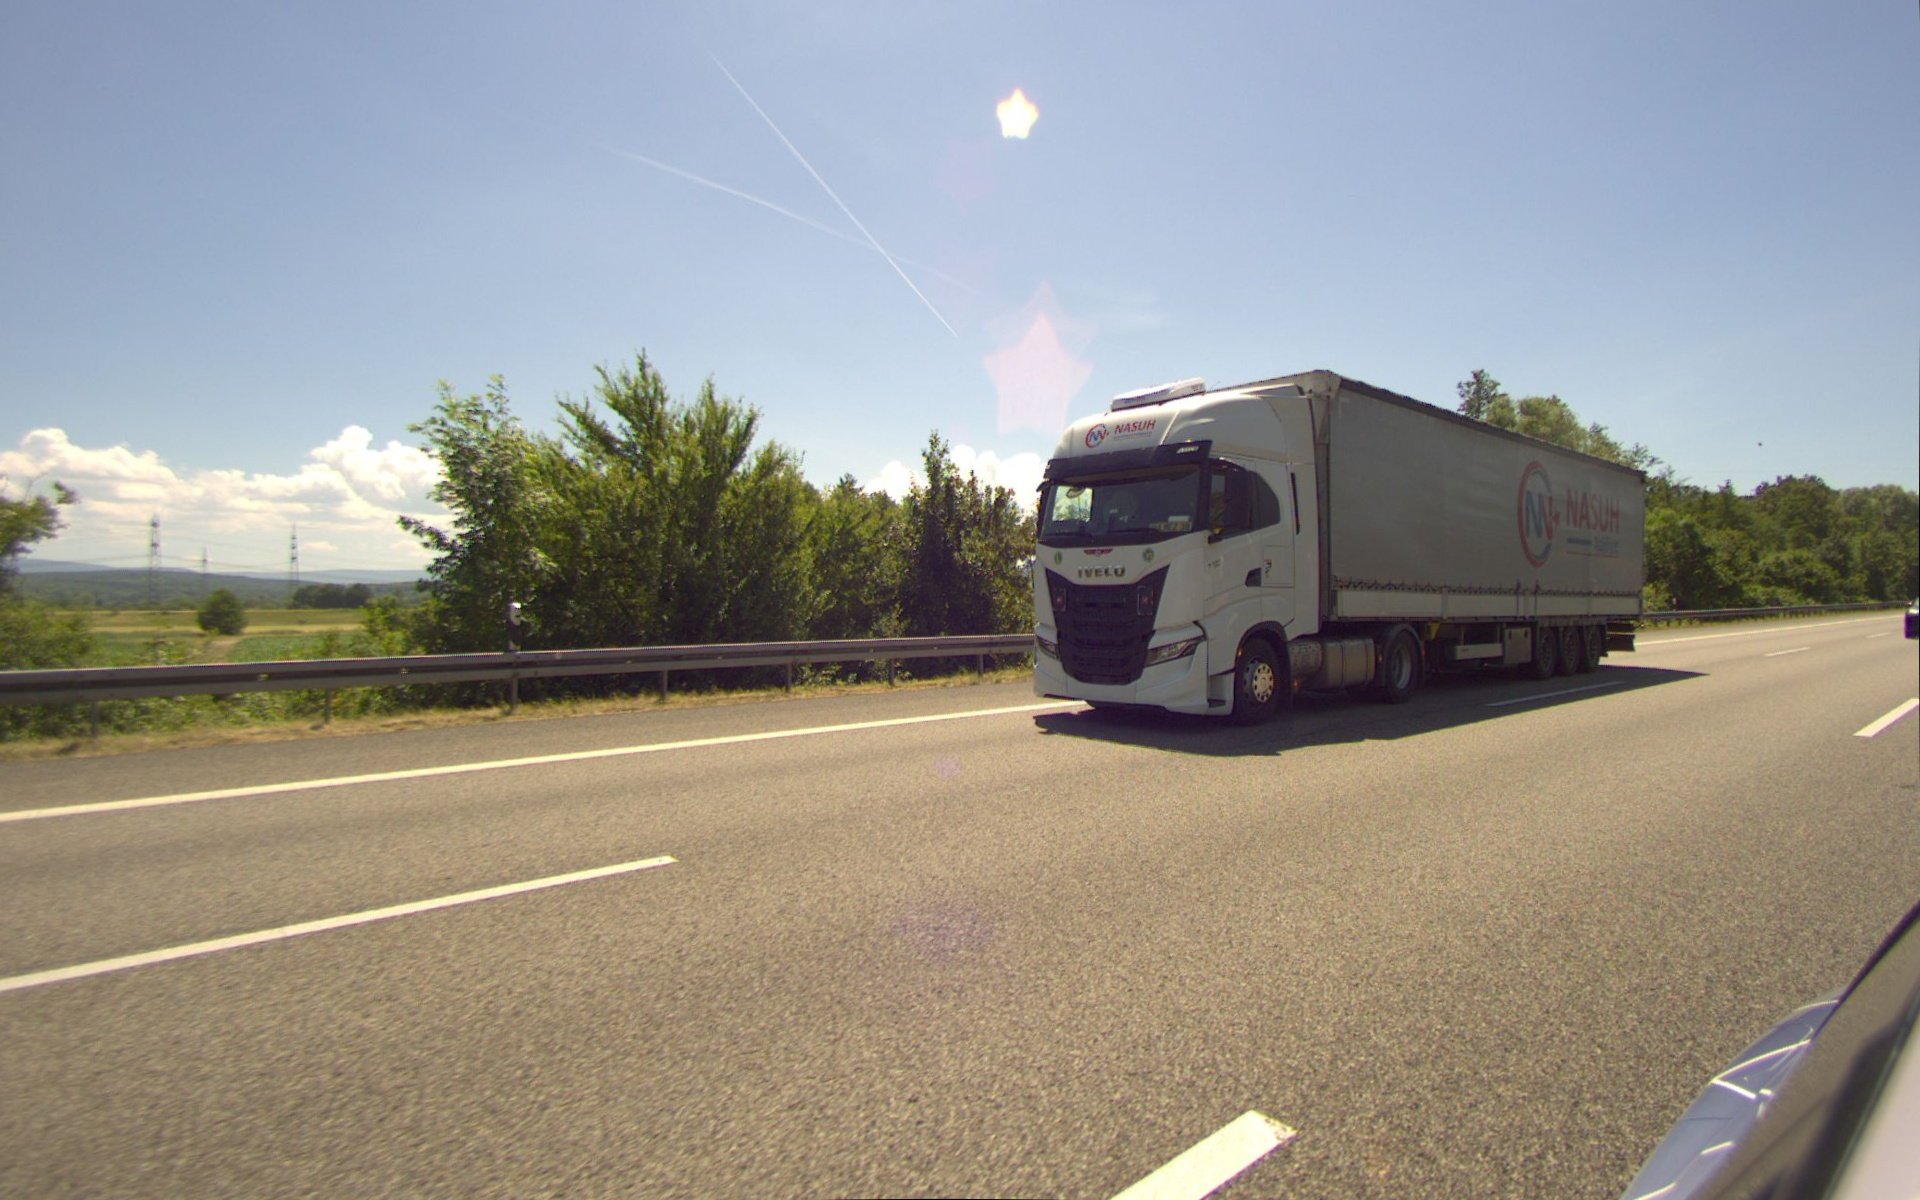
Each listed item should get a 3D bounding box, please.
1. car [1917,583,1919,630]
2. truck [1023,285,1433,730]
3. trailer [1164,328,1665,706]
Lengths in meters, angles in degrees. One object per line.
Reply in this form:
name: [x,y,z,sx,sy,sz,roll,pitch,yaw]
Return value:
car: [35.870,0.220,36.042,5.670,1.645,2.047,0,0,-41]
truck: [3.636,-0.971,13.080,5.476,4.528,2.539,0,0,-42]
trailer: [8.866,-1.046,17.711,13.915,4.528,2.539,0,0,-42]
